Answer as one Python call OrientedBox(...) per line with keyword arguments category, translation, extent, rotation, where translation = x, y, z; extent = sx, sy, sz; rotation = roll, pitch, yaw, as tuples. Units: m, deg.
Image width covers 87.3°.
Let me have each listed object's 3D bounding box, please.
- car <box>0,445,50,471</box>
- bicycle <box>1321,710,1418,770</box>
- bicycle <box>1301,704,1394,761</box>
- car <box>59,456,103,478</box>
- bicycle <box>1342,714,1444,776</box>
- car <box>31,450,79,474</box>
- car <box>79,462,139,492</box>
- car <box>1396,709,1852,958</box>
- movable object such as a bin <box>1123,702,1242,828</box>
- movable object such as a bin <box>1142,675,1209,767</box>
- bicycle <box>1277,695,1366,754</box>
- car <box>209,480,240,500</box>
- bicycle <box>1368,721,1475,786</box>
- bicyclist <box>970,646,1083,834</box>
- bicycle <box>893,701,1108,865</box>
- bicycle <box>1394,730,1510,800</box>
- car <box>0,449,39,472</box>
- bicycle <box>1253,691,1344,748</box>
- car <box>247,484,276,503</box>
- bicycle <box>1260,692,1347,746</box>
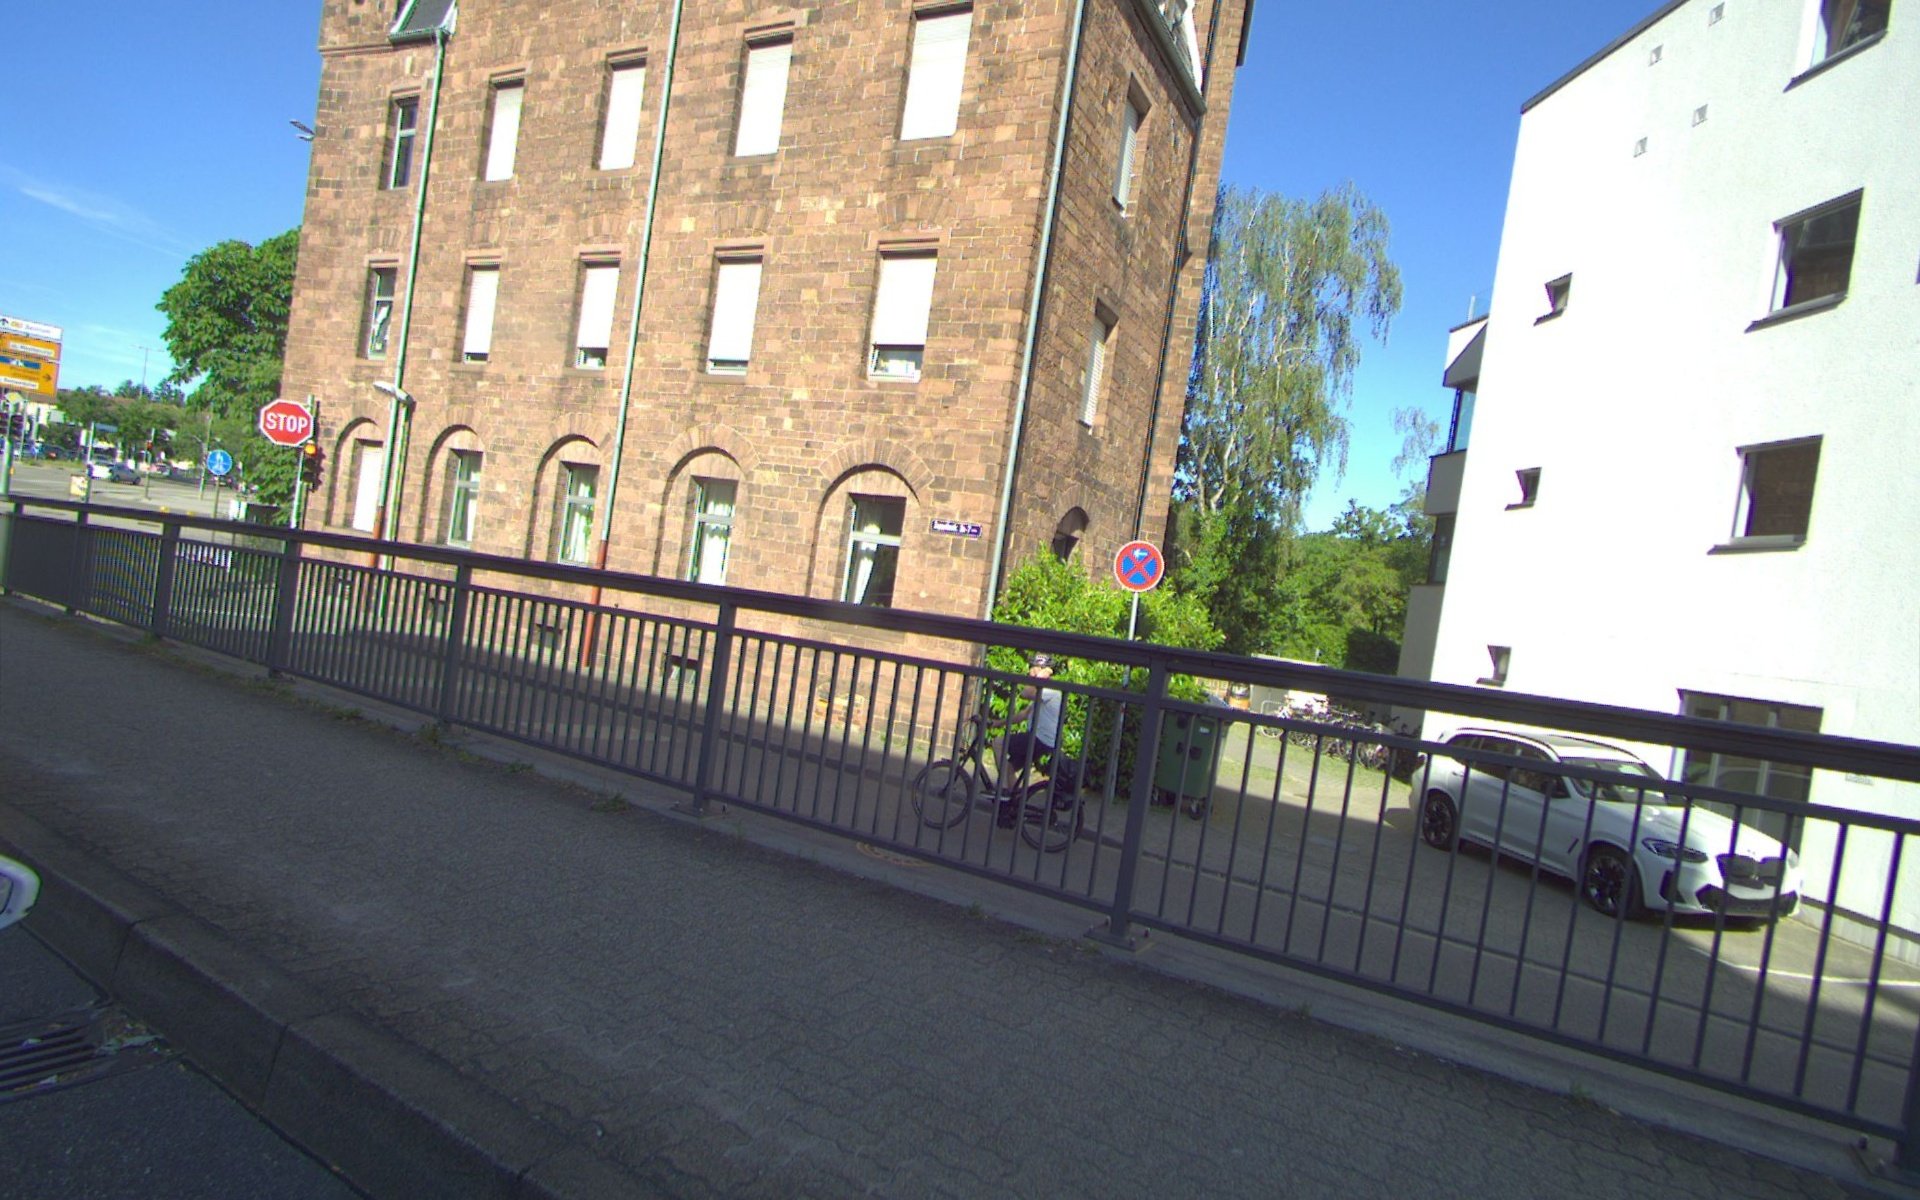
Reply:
OrientedBox(category="car", translation=(-78.915, -11.972, 84.833), extent=(1.860, 1.598, 3.977), rotation=(8, 1, -22))
OrientedBox(category="bicycle", translation=(9.464, 3.238, 23.277), extent=(1.889, 1.065, 0.664), rotation=(8, 1, -6))
OrientedBox(category="bicycle", translation=(9.350, 3.202, 24.303), extent=(1.889, 1.065, 0.664), rotation=(8, 1, -6))
OrientedBox(category="car", translation=(-84.574, -12.789, 96.839), extent=(1.860, 1.598, 3.977), rotation=(8, 1, -22))
OrientedBox(category="bicycle", translation=(9.626, 3.221, 22.391), extent=(1.889, 1.065, 0.664), rotation=(8, 1, -6))
OrientedBox(category="car", translation=(-81.381, -12.361, 90.511), extent=(1.860, 1.598, 3.977), rotation=(8, 1, -22))
OrientedBox(category="car", translation=(-62.393, -8.984, 73.809), extent=(1.864, 1.650, 3.982), rotation=(8, 0, -19))
OrientedBox(category="car", translation=(7.552, 2.568, 12.156), extent=(1.814, 1.707, 4.520), rotation=(8, 0, -10))
OrientedBox(category="movable object such as a bin", translation=(2.774, 2.007, 12.481), extent=(1.011, 1.307, 1.005), rotation=(10, 0, 29))
OrientedBox(category="movable object such as a bin", translation=(4.168, 2.314, 19.433), extent=(1.009, 1.539, 1.007), rotation=(10, 0, 13))
OrientedBox(category="bicycle", translation=(9.139, 3.140, 25.468), extent=(1.889, 1.174, 0.664), rotation=(8, 1, -6))
OrientedBox(category="car", translation=(-81.168, -12.179, 111.134), extent=(1.868, 1.565, 3.977), rotation=(8, -2, -25))
OrientedBox(category="bicycle", translation=(9.838, 3.270, 21.478), extent=(1.889, 1.065, 0.664), rotation=(8, 1, -6))
OrientedBox(category="bicyclist", translation=(0.647, 1.310, 9.630), extent=(0.683, 1.627, 0.688), rotation=(9, 0, 20))
OrientedBox(category="bicycle", translation=(0.392, 1.715, 9.701), extent=(1.804, 1.154, 0.690), rotation=(9, 0, 20))
OrientedBox(category="bicycle", translation=(9.689, 3.249, 19.847), extent=(1.889, 1.065, 0.664), rotation=(8, 1, -6))
OrientedBox(category="car", translation=(-85.674, -12.644, 91.120), extent=(1.860, 1.598, 3.977), rotation=(8, 1, -22))
OrientedBox(category="bicycle", translation=(8.870, 3.138, 26.399), extent=(2.075, 1.174, 0.664), rotation=(8, 1, -9))
OrientedBox(category="car", translation=(-75.249, -11.477, 108.395), extent=(1.723, 1.516, 3.976), rotation=(7, -1, -25))
OrientedBox(category="bicycle", translation=(9.362, 3.242, 27.436), extent=(2.075, 1.174, 0.664), rotation=(8, 1, -9))
